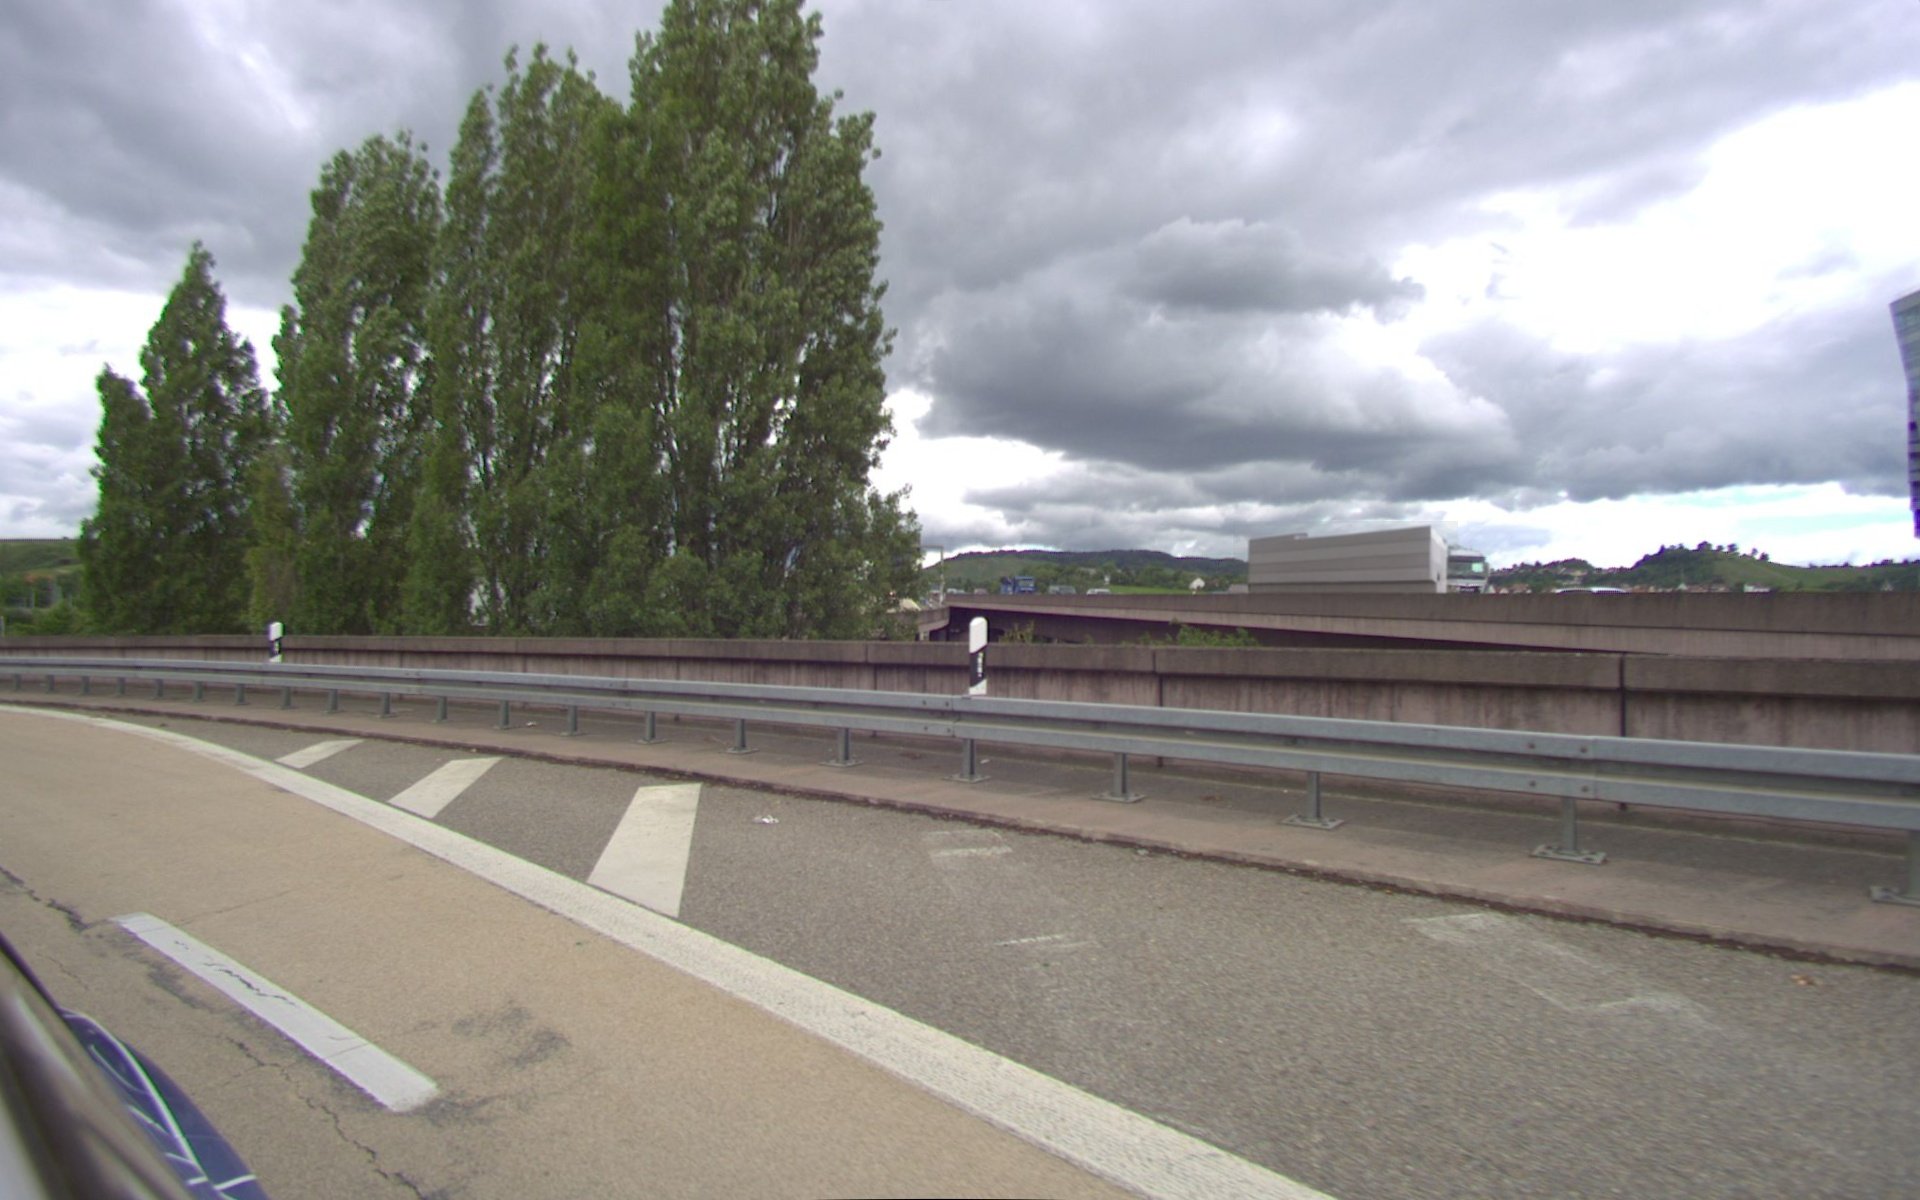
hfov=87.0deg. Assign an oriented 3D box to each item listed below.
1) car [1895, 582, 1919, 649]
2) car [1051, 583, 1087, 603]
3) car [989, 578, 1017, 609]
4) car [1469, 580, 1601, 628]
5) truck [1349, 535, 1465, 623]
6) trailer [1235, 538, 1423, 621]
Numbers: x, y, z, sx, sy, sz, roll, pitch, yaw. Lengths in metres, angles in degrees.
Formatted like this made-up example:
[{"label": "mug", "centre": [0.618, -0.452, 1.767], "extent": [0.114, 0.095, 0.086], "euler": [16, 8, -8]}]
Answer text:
[{"label": "car", "centre": [22.821, 0.311, 21.521], "extent": [1.686, 1.508, 4.010], "euler": [-2, 0, -12]}, {"label": "car", "centre": [9.718, -0.634, 90.650], "extent": [1.967, 1.695, 4.010], "euler": [-2, 0, -13]}, {"label": "car", "centre": [5.414, -0.778, 129.217], "extent": [2.327, 3.688, 4.809], "euler": [-3, 0, -11]}, {"label": "car", "centre": [19.892, 0.148, 35.215], "extent": [1.759, 1.530, 4.009], "euler": [-2, 0, -11]}, {"label": "truck", "centre": [21.874, -1.001, 49.777], "extent": [2.818, 4.041, 4.803], "euler": [-2, 0, -12]}, {"label": "trailer", "centre": [20.262, -1.035, 57.201], "extent": [2.818, 4.041, 14.009], "euler": [-2, 1, -12]}]
